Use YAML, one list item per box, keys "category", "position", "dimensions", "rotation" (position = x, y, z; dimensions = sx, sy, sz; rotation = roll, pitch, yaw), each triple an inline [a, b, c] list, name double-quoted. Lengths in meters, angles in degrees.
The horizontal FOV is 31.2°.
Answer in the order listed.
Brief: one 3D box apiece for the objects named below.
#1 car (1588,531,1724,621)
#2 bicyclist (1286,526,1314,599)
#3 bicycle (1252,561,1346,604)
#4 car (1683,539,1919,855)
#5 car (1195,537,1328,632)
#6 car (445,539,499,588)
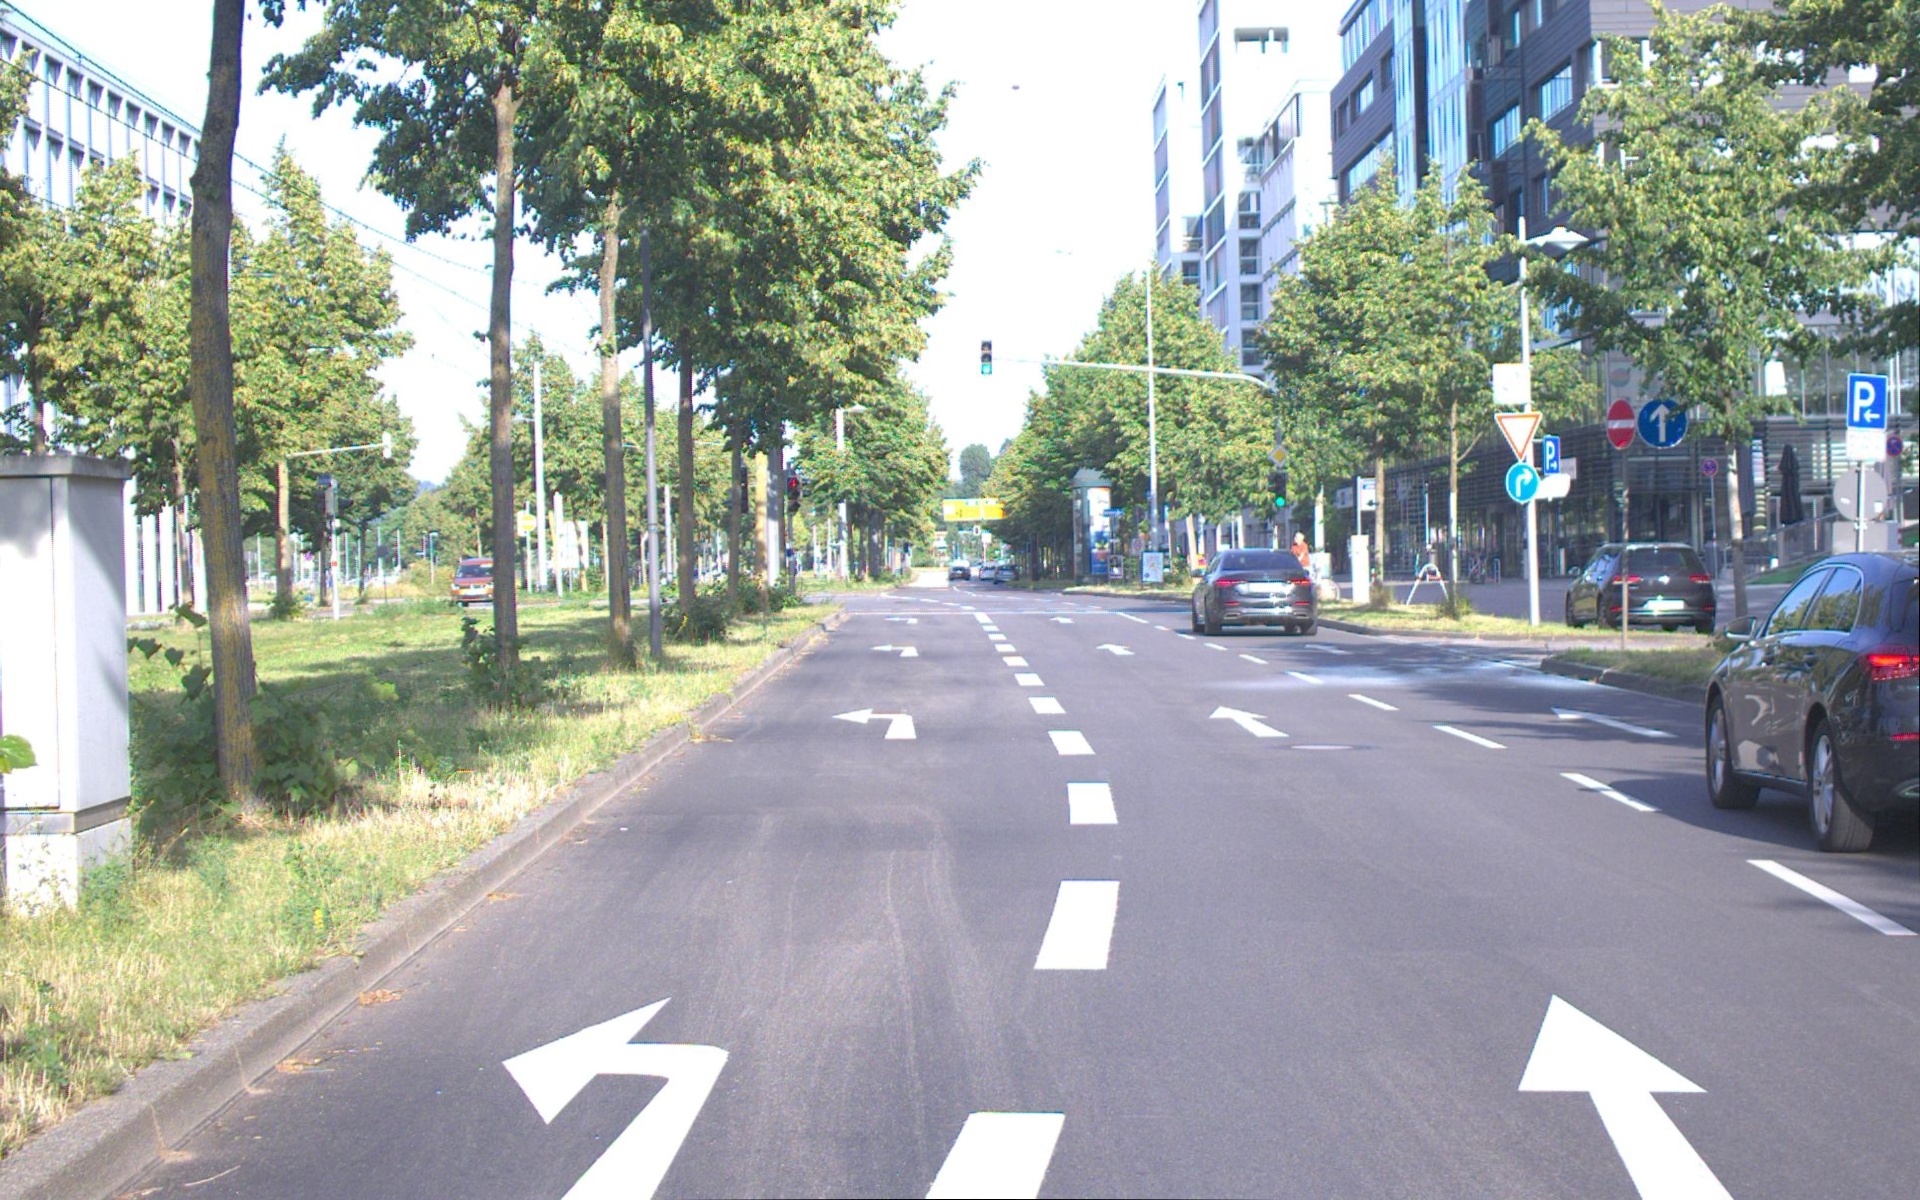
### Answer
- category: "car"
  position: [10.961, -0.374, 54.324]
  dimensions: [1.607, 1.366, 4.157]
  rotation: [0, 0, 5]
- category: "bicyclist"
  position: [8.000, -0.886, 80.934]
  dimensions: [0.574, 1.701, 0.541]
  rotation: [0, 0, -4]
- category: "bicycle"
  position: [7.972, -0.412, 80.927]
  dimensions: [2.134, 1.009, 0.571]
  rotation: [0, 0, -4]
- category: "car"
  position: [4.967, 0.430, 17.413]
  dimensions: [1.774, 1.419, 3.961]
  rotation: [0, 0, 0]
- category: "car"
  position: [4.955, -0.259, 56.893]
  dimensions: [1.859, 1.519, 3.785]
  rotation: [0, 0, 0]
- category: "car"
  position: [-18.274, -1.360, 128.826]
  dimensions: [1.684, 1.769, 3.883]
  rotation: [0, 0, -4]
